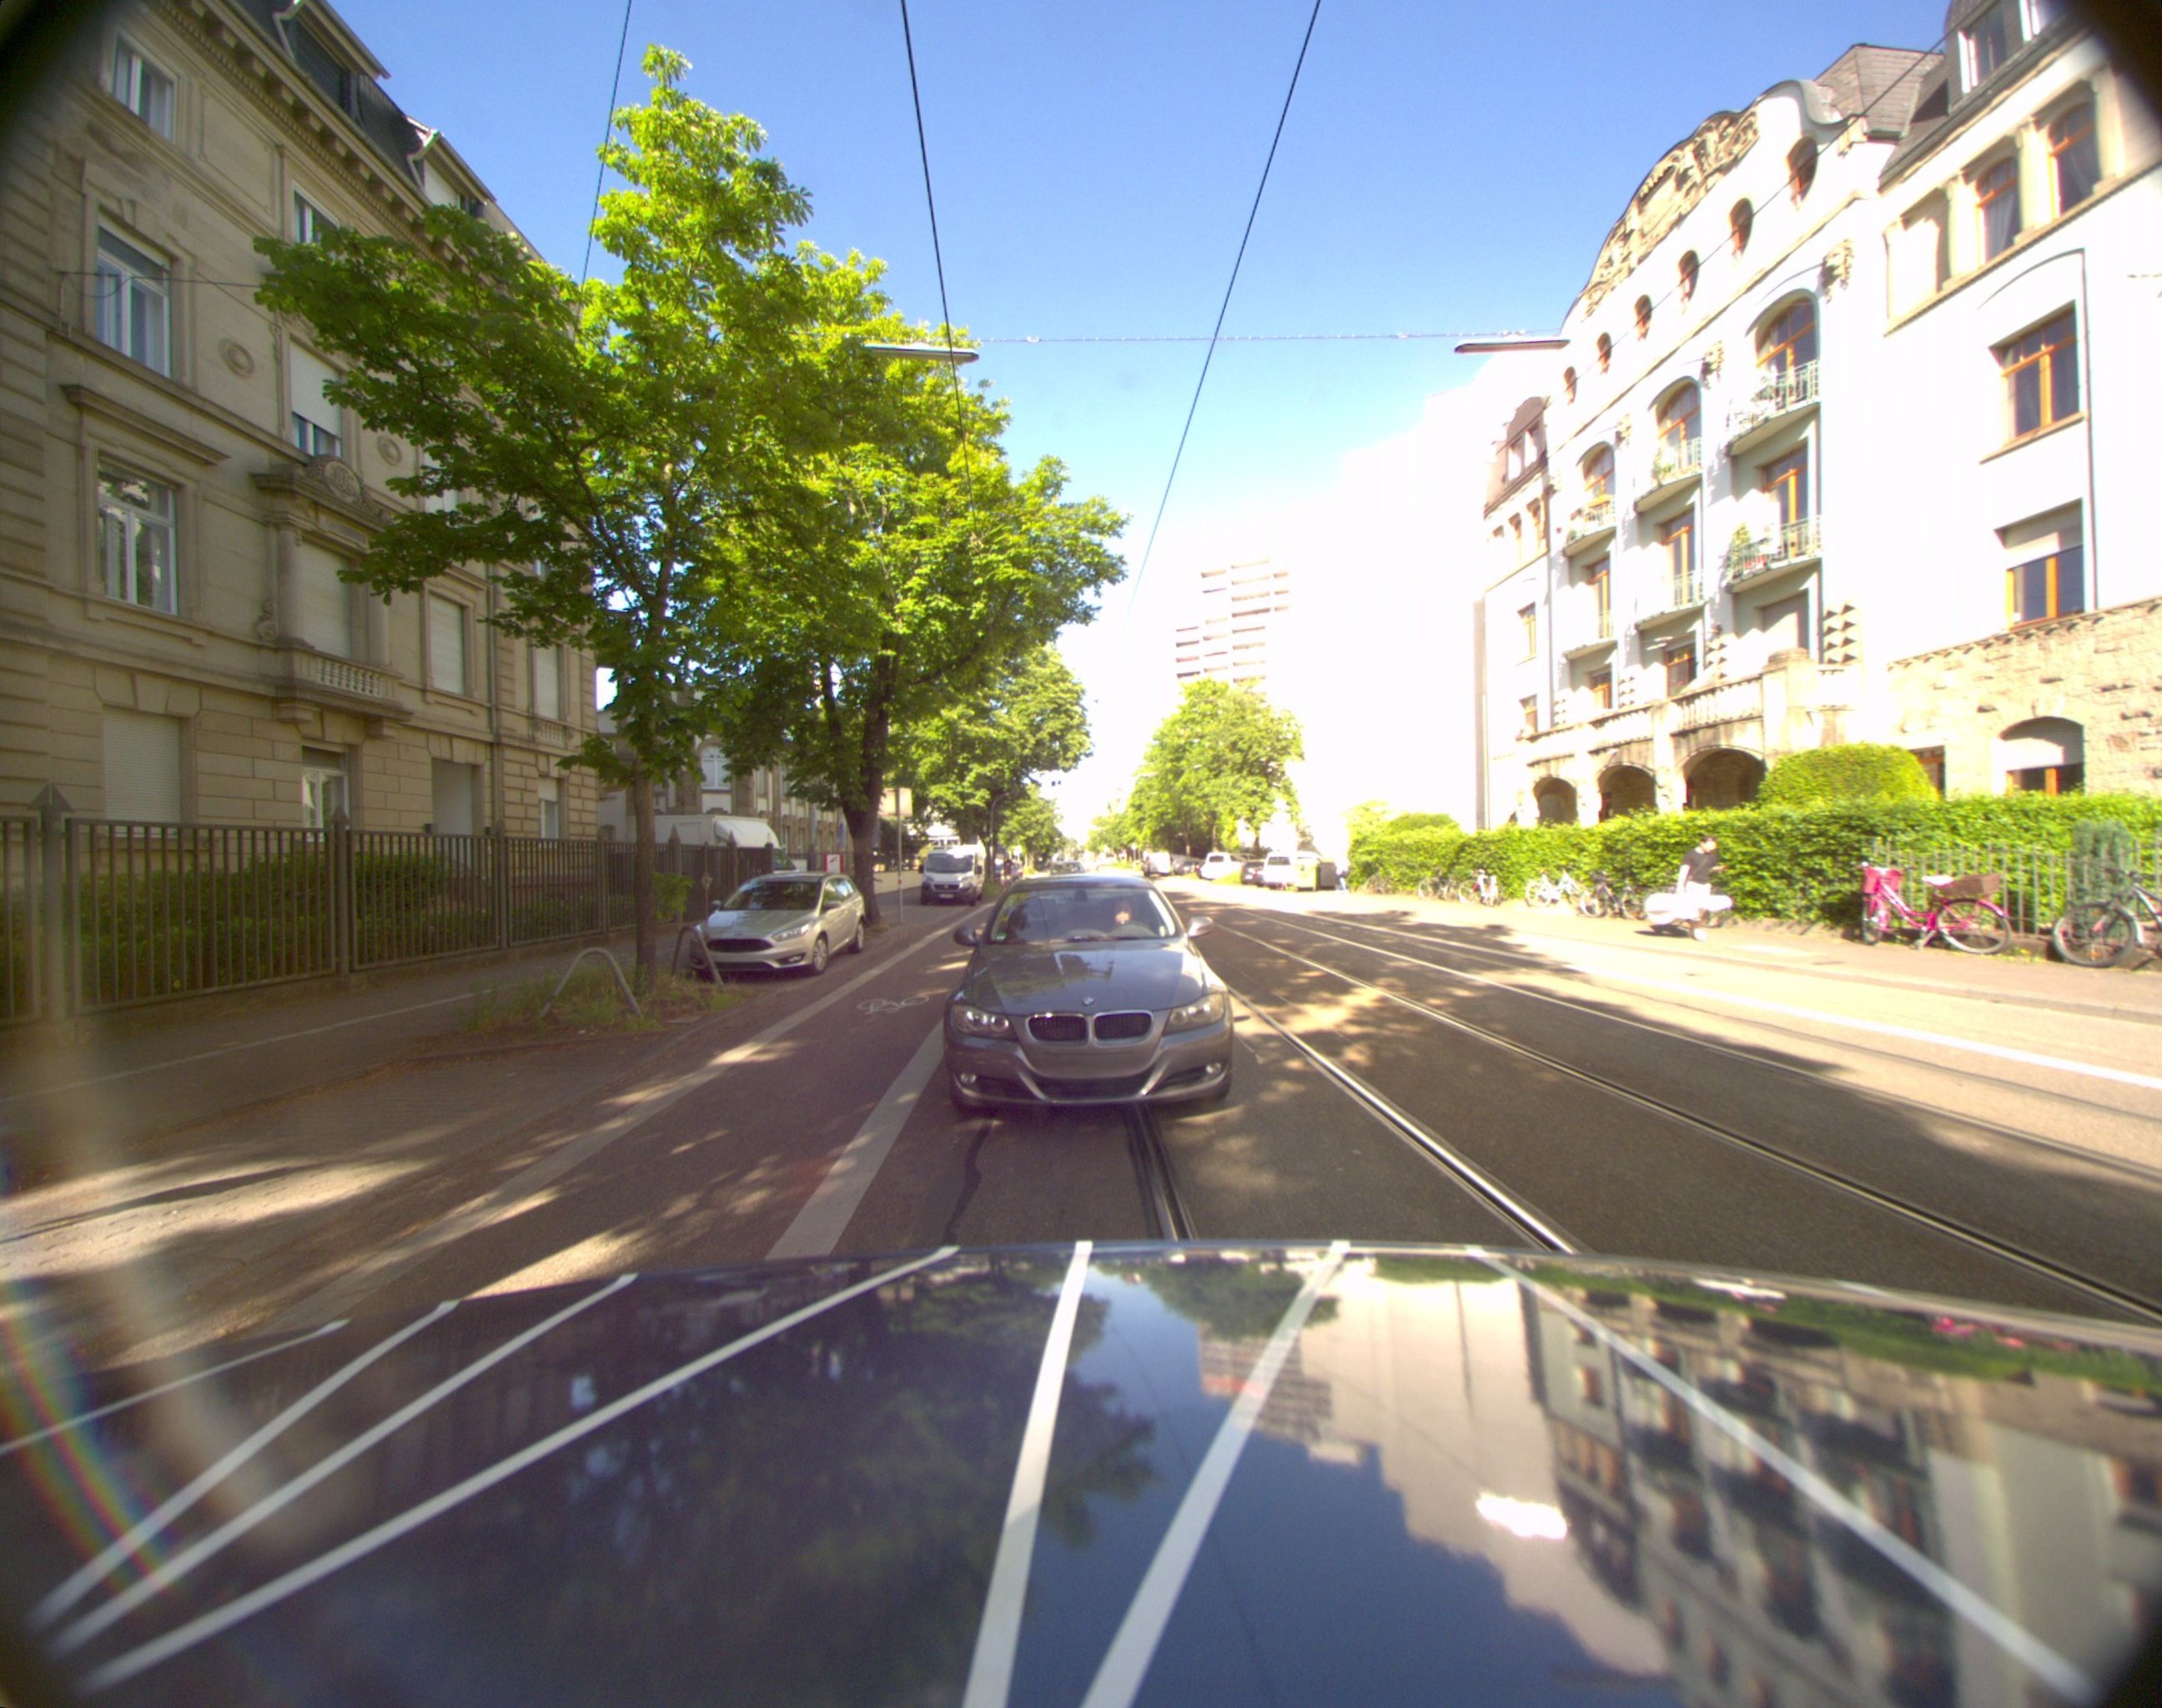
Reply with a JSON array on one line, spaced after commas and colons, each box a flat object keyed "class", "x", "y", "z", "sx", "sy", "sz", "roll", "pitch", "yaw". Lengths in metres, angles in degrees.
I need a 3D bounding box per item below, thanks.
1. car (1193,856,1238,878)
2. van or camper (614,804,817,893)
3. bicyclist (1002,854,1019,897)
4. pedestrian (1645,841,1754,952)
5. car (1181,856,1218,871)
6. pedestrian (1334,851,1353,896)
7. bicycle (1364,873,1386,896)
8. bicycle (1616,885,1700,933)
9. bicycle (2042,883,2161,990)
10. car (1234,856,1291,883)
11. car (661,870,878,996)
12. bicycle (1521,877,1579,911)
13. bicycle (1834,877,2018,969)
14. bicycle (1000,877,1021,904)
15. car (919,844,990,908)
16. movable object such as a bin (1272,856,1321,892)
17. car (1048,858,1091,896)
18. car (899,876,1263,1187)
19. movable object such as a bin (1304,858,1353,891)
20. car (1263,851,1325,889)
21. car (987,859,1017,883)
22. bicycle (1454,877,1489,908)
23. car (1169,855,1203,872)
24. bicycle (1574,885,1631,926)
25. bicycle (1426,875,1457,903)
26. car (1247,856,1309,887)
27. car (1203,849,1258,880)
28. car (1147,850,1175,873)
[{"class": "car", "x": 9.471, "y": 0.910, "z": 53.542, "sx": 2.757, "sy": 1.427, "sz": 1.458, "roll": -2, "pitch": 1, "yaw": -16}, {"class": "van or camper", "x": -12.167, "y": -0.135, "z": 25.186, "sx": 6.721, "sy": 2.612, "sz": 2.126, "roll": -2, "pitch": 1, "yaw": 24}, {"class": "bicyclist", "x": -2.794, "y": 0.846, "z": 30.169, "sx": 0.532, "sy": 1.660, "sz": 0.878, "roll": -2, "pitch": 1, "yaw": 1}, {"class": "pedestrian", "x": 9.791, "y": 0.651, "z": 12.064, "sx": 0.869, "sy": 1.619, "sz": 0.870, "roll": -6, "pitch": 1, "yaw": 1}, {"class": "car", "x": 9.764, "y": 0.804, "z": 62.695, "sx": 2.757, "sy": 1.083, "sz": 1.226, "roll": -2, "pitch": 1, "yaw": -16}, {"class": "pedestrian", "x": 9.864, "y": 0.724, "z": 28.567, "sx": 0.475, "sy": 1.619, "sz": 0.659, "roll": -2, "pitch": 1, "yaw": 1}, {"class": "bicycle", "x": 10.629, "y": 1.100, "z": 27.454, "sx": 0.297, "sy": 0.757, "sz": 1.263, "roll": -2, "pitch": 1, "yaw": 1}, {"class": "bicycle", "x": 10.914, "y": 1.025, "z": 14.425, "sx": 0.405, "sy": 0.757, "sz": 1.581, "roll": -2, "pitch": 1, "yaw": 1}, {"class": "bicycle", "x": 11.114, "y": 0.854, "z": 7.724, "sx": 0.405, "sy": 1.018, "sz": 1.816, "roll": -2, "pitch": 1, "yaw": 1}, {"class": "car", "x": 10.262, "y": 0.856, "z": 43.023, "sx": 2.757, "sy": 1.427, "sz": 1.458, "roll": -2, "pitch": 1, "yaw": -16}, {"class": "car", "x": -4.711, "y": 1.094, "z": 12.268, "sx": 1.877, "sy": 1.534, "sz": 4.364, "roll": 0, "pitch": 1, "yaw": -3}, {"class": "bicycle", "x": 11.788, "y": 1.002, "z": 19.102, "sx": 1.262, "sy": 0.789, "sz": 0.297, "roll": -2, "pitch": 1, "yaw": 1}, {"class": "bicycle", "x": 11.009, "y": 0.856, "z": 9.997, "sx": 0.405, "sy": 1.018, "sz": 1.816, "roll": -2, "pitch": 1, "yaw": 1}, {"class": "bicycle", "x": -2.782, "y": 1.439, "z": 30.191, "sx": 0.535, "sy": 0.917, "sz": 2.057, "roll": -2, "pitch": 1, "yaw": 1}, {"class": "car", "x": -4.981, "y": 0.775, "z": 30.779, "sx": 2.132, "sy": 2.329, "sz": 5.803, "roll": 0, "pitch": 1, "yaw": -3}, {"class": "movable object such as a bin", "x": 9.399, "y": 0.848, "z": 33.240, "sx": 1.512, "sy": 1.424, "sz": 2.096, "roll": -2, "pitch": 1, "yaw": 1}, {"class": "car", "x": -0.492, "y": 1.041, "z": 35.593, "sx": 1.828, "sy": 1.559, "sz": 3.999, "roll": -2, "pitch": 1, "yaw": 1}, {"class": "car", "x": 0.027, "y": 1.000, "z": 6.016, "sx": 1.869, "sy": 1.426, "sz": 3.999, "roll": -2, "pitch": 1, "yaw": 1}, {"class": "movable object such as a bin", "x": 11.114, "y": 0.902, "z": 34.209, "sx": 1.501, "sy": 1.309, "sz": 2.096, "roll": -2, "pitch": 1, "yaw": 1}, {"class": "car", "x": 10.295, "y": 0.774, "z": 36.645, "sx": 3.194, "sy": 1.763, "sz": 1.456, "roll": 1, "pitch": -2, "yaw": -45}, {"class": "car", "x": -5.537, "y": 1.188, "z": 53.759, "sx": 1.866, "sy": 1.541, "sz": 4.101, "roll": -2, "pitch": 1, "yaw": -3}, {"class": "bicycle", "x": 10.739, "y": 1.057, "z": 20.910, "sx": 0.318, "sy": 0.757, "sz": 1.263, "roll": -2, "pitch": 1, "yaw": 1}, {"class": "car", "x": 9.668, "y": 0.853, "z": 69.896, "sx": 2.757, "sy": 1.417, "sz": 1.226, "roll": -2, "pitch": 1, "yaw": -16}, {"class": "bicycle", "x": 10.913, "y": 1.063, "z": 15.931, "sx": 0.339, "sy": 0.757, "sz": 1.263, "roll": -2, "pitch": 1, "yaw": 1}, {"class": "bicycle", "x": 10.761, "y": 1.037, "z": 22.701, "sx": 0.297, "sy": 0.757, "sz": 1.263, "roll": -2, "pitch": 1, "yaw": 1}, {"class": "car", "x": 10.265, "y": 0.893, "z": 39.656, "sx": 2.757, "sy": 1.427, "sz": 1.458, "roll": -2, "pitch": 1, "yaw": -16}, {"class": "car", "x": 9.898, "y": 0.683, "z": 50.113, "sx": 3.450, "sy": 1.860, "sz": 1.918, "roll": -3, "pitch": 1, "yaw": -44}, {"class": "car", "x": 6.999, "y": 0.622, "z": 66.024, "sx": 1.997, "sy": 1.893, "sz": 4.003, "roll": -2, "pitch": 1, "yaw": 11}]
